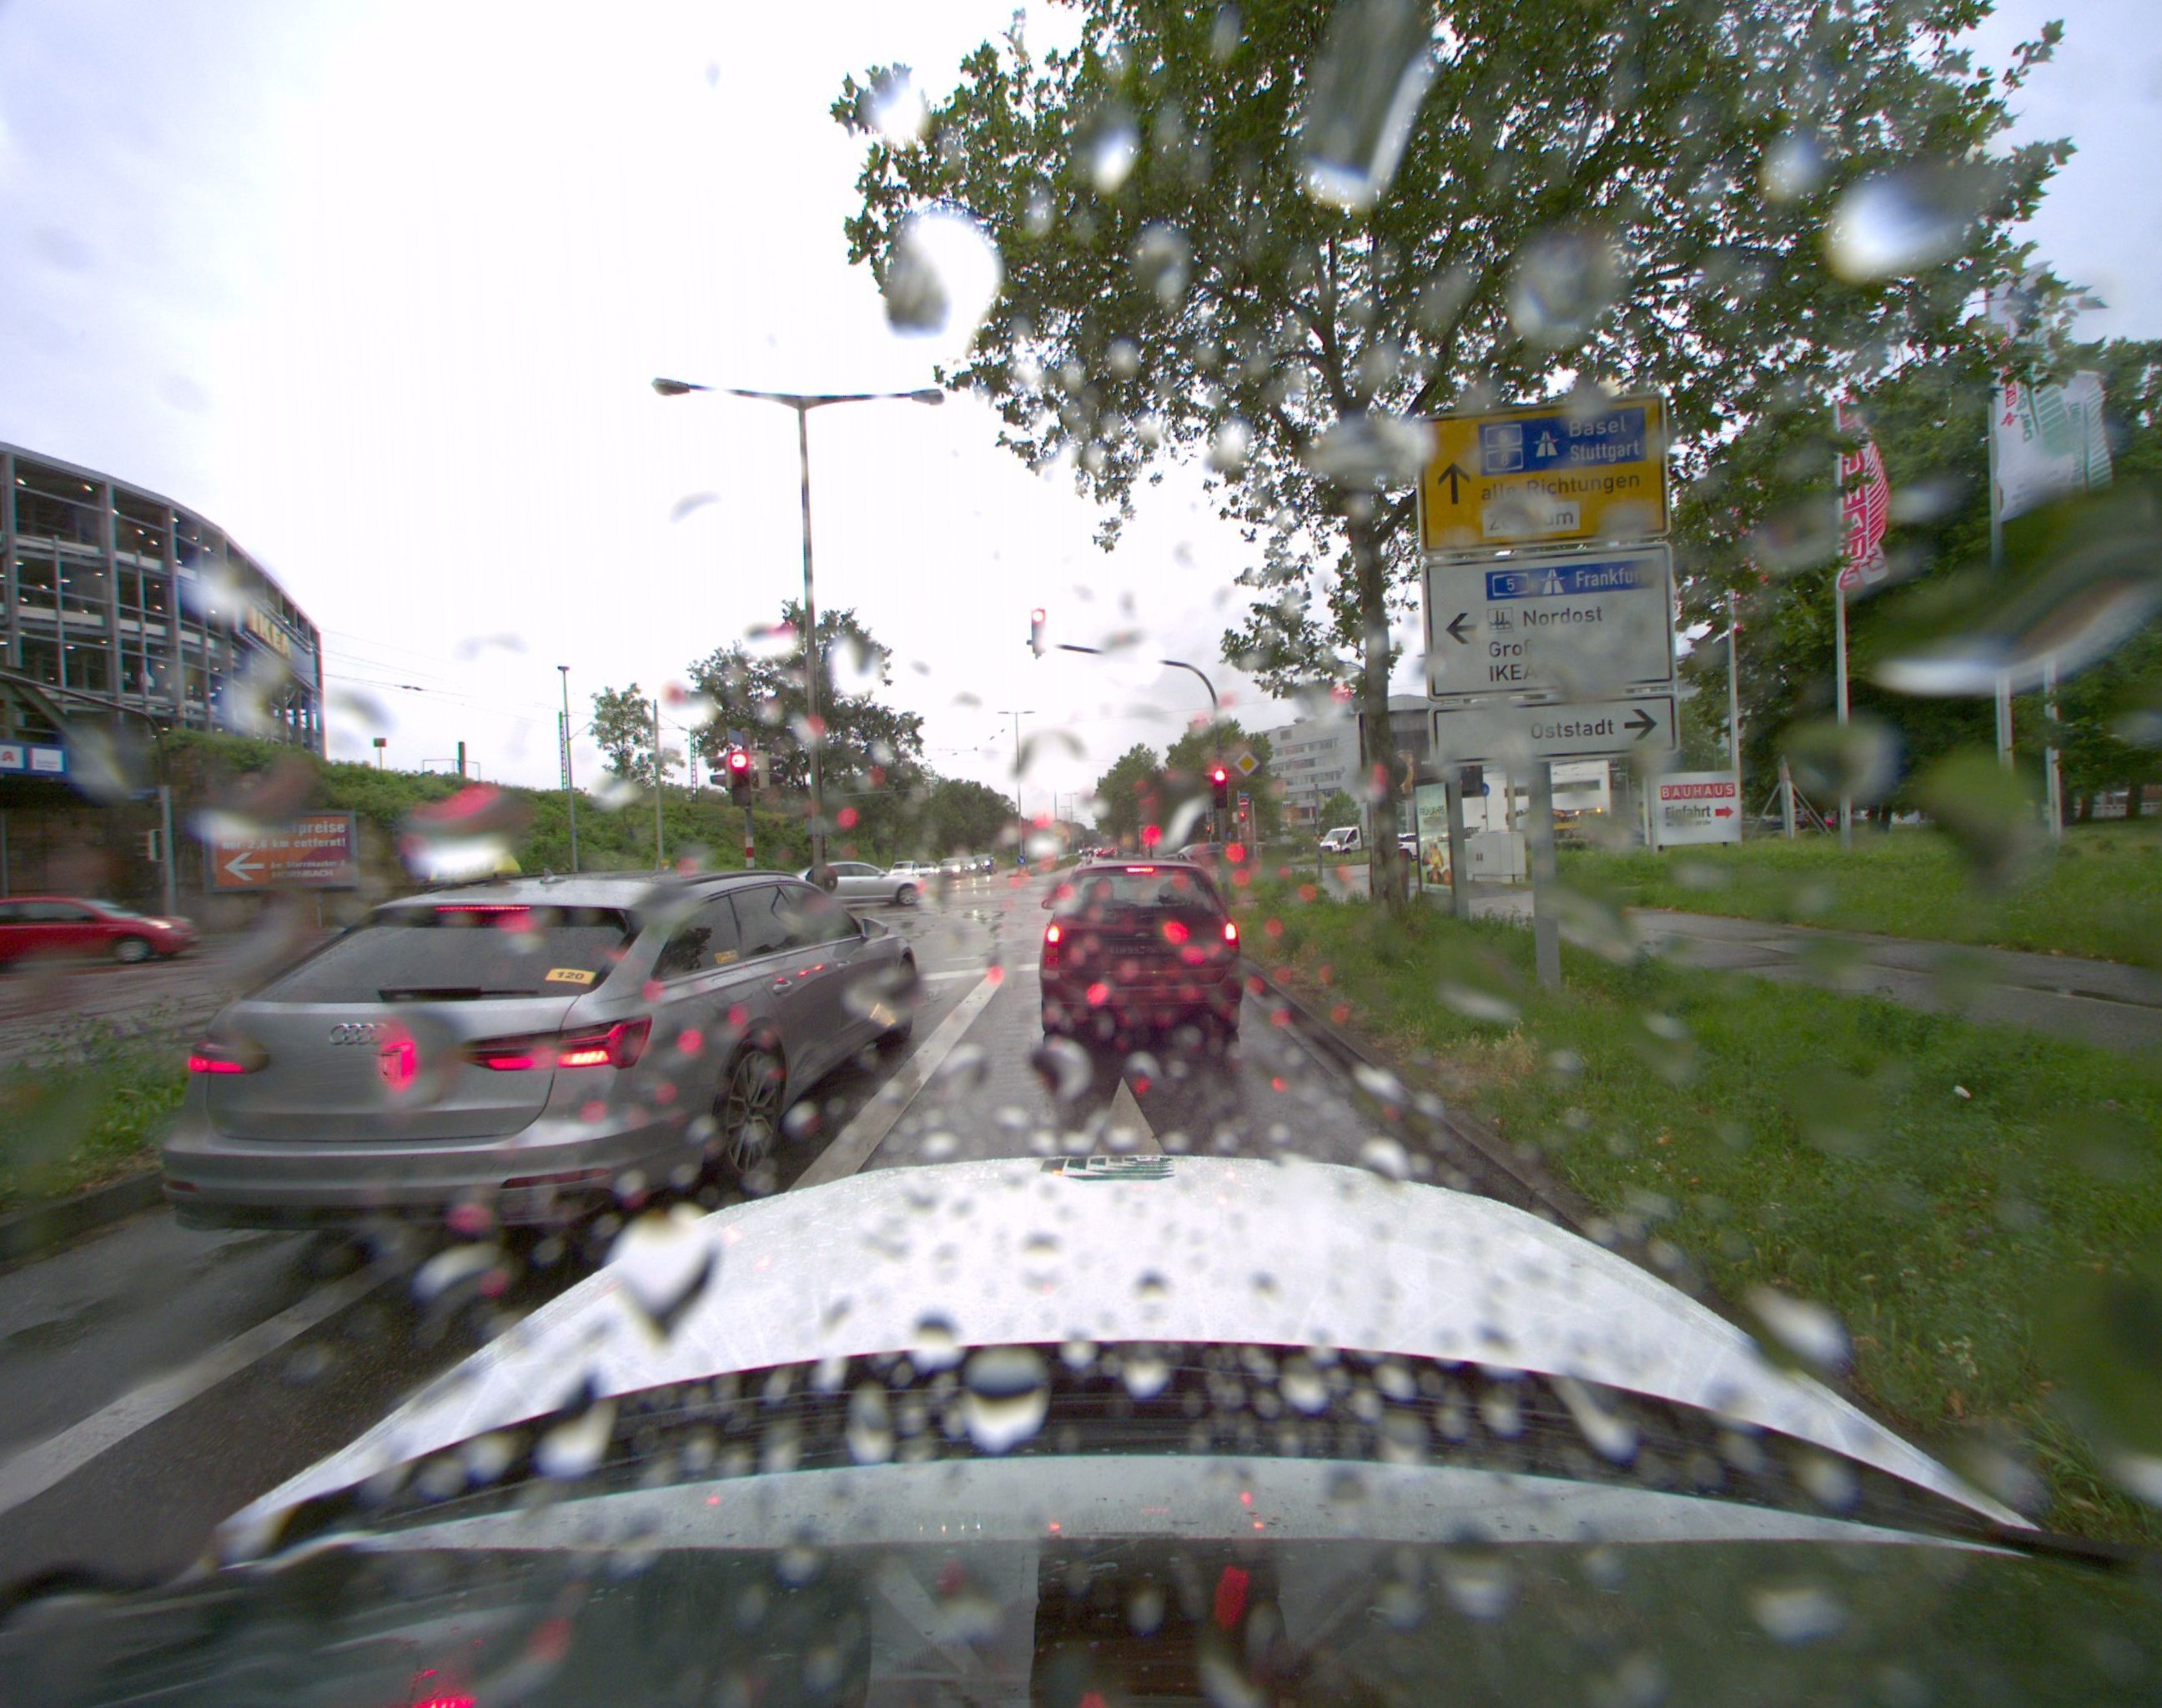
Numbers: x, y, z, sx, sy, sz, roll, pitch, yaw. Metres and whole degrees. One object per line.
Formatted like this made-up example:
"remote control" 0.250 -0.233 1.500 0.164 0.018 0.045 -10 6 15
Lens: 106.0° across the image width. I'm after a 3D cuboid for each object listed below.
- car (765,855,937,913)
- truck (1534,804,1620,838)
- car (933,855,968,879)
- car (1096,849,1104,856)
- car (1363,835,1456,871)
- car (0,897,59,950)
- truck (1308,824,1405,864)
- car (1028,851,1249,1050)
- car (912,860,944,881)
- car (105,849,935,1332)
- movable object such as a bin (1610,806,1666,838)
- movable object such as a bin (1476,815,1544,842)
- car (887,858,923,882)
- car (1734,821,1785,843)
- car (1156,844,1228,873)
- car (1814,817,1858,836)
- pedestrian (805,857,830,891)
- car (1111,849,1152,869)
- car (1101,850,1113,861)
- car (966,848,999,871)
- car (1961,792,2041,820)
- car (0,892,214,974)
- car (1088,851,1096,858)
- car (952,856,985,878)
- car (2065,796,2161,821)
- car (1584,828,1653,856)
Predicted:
"car" -7.121 0.883 25.327 4.843 1.491 1.909 -2 0 -29
"truck" 57.981 -3.835 95.389 3.342 3.507 7.806 -3 0 -33
"car" -8.995 0.871 56.533 1.632 1.473 3.966 -3 0 1
"car" 4.489 -0.401 189.804 1.691 1.528 3.849 -3 0 3
"car" 15.983 -0.054 39.560 4.644 1.586 1.907 -2 -1 -34
"car" -31.224 1.991 21.940 4.229 1.374 1.728 -2 -1 -35
"truck" 18.447 -0.707 54.413 6.897 2.365 2.455 -3 0 -35
"car" 0.459 0.715 7.933 1.636 1.465 3.733 0 0 1
"car" -11.564 1.217 61.880 1.585 1.404 3.823 -3 0 1
"car" -2.276 0.763 5.084 1.763 1.574 4.822 0 0 1
"movable object such as a bin" 66.858 -3.846 97.659 6.347 3.507 3.293 -3 0 -34
"movable object such as a bin" 53.783 -3.184 102.171 3.342 2.995 6.650 -3 0 -34
"car" -11.967 1.059 55.559 1.633 1.452 3.786 -3 0 0
"car" 54.984 -1.795 65.961 4.645 1.586 1.907 -2 -1 -34
"car" 6.787 0.264 49.757 4.264 1.559 1.728 -3 0 -35
"car" 67.831 -2.460 73.161 4.645 1.586 1.907 -2 -1 -34
"pedestrian" -14.940 1.103 46.212 1.102 1.847 1.126 -3 0 -10
"car" 4.734 0.462 76.666 2.006 1.790 3.961 0 -1 -30
"car" 4.055 0.225 126.201 1.664 1.528 3.849 -3 0 3
"car" -8.633 0.455 71.776 2.058 1.819 5.542 -3 0 1
"car" 77.216 -4.005 68.426 4.229 2.049 1.775 -1 1 42
"car" -21.642 1.668 17.466 3.829 1.491 1.662 -2 0 -31
"car" 2.653 0.173 200.155 1.691 1.528 3.849 -3 0 3
"car" -8.724 0.987 63.620 1.756 1.586 4.813 -3 -1 0
"car" 88.549 -3.909 69.317 2.286 1.731 5.899 -3 0 -33
"car" 33.381 -0.755 50.516 4.645 1.586 1.907 -2 -1 -34
